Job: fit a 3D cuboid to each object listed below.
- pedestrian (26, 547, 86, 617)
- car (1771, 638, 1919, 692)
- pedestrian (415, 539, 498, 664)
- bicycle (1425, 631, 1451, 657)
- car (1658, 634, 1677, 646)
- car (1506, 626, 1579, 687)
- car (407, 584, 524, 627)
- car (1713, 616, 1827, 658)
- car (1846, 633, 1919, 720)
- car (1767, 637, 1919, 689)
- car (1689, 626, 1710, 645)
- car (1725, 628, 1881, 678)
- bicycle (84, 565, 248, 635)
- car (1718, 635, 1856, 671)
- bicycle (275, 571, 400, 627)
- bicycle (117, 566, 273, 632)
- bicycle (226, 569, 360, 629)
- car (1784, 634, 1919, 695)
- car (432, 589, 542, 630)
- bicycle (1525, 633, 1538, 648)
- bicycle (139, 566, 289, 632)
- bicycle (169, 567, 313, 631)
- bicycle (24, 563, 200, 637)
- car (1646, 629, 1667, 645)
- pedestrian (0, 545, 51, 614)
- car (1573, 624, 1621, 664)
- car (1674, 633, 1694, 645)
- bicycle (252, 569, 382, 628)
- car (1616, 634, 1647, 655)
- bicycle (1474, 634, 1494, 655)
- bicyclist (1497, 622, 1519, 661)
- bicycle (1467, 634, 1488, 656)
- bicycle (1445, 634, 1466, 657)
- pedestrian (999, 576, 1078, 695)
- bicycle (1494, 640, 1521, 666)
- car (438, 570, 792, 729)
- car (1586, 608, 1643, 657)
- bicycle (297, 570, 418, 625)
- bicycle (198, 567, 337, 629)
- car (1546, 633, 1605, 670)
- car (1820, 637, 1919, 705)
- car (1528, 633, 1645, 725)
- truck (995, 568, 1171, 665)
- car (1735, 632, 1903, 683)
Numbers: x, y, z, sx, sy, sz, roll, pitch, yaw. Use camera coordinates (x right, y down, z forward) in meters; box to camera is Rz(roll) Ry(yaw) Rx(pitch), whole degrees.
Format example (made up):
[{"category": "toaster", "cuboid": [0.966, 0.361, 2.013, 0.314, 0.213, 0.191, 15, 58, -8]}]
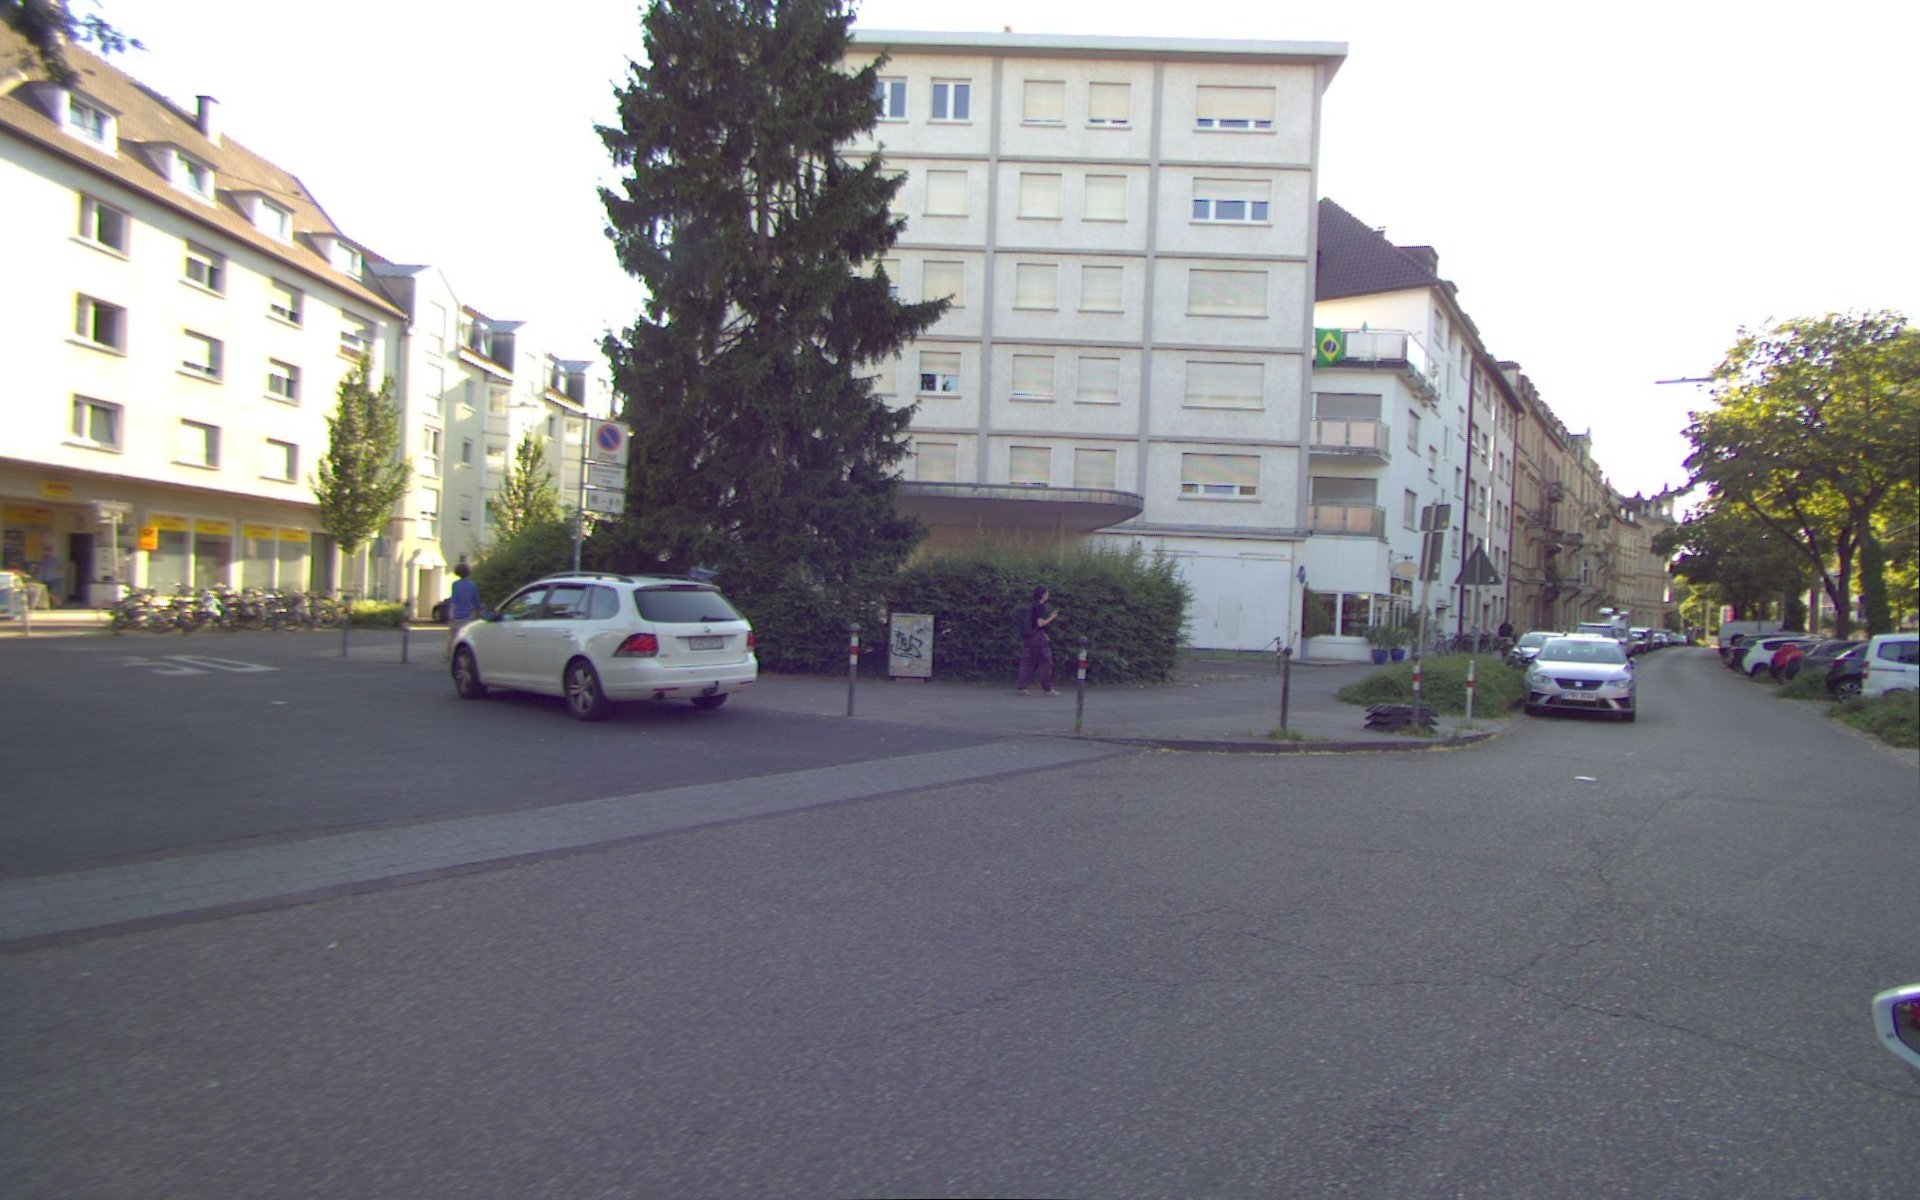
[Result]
[{"category": "pedestrian", "cuboid": [-25.376, -0.502, 28.207, 0.835, 1.900, 0.891, 2, 0, 2]}, {"category": "car", "cuboid": [26.139, 1.844, 28.782, 1.588, 1.477, 4.210, 1, -3, -29]}, {"category": "pedestrian", "cuboid": [-8.571, 0.022, 17.094, 0.969, 2.040, 0.860, 2, 0, 36]}, {"category": "bicycle", "cuboid": [19.544, 1.802, 41.077, 0.524, 1.016, 2.168, 2, 0, 36]}, {"category": "car", "cuboid": [90.364, 5.146, 128.308, 1.690, 1.465, 3.981, 1, -1, 40]}, {"category": "car", "cuboid": [17.717, 1.655, 30.482, 1.687, 1.695, 3.989, 1, -1, 34]}, {"category": "car", "cuboid": [-20.300, 0.225, 41.334, 3.919, 1.579, 1.746, 2, 0, 5]}, {"category": "car", "cuboid": [51.958, 2.424, 64.569, 2.242, 2.605, 5.237, 0, -3, -25]}, {"category": "car", "cuboid": [19.553, 1.434, 18.752, 1.584, 1.674, 4.220, 0, -3, -22]}, {"category": "car", "cuboid": [27.790, 1.921, 30.970, 1.588, 1.477, 4.210, 1, -3, -29]}, {"category": "car", "cuboid": [105.113, 5.053, 142.736, 1.693, 2.596, 5.533, 1, -1, 44]}, {"category": "car", "cuboid": [32.076, 2.030, 38.370, 1.828, 1.772, 4.227, 0, -3, -17]}, {"category": "bicycle", "cuboid": [-18.940, -0.005, 23.993, 3.312, 1.464, 0.881, 3, 0, 5]}, {"category": "car", "cuboid": [35.780, 2.295, 43.584, 1.833, 1.492, 4.216, 0, -3, -25]}, {"category": "bicycle", "cuboid": [-19.081, -0.037, 30.818, 3.312, 1.464, 0.881, 4, 0, 5]}, {"category": "bicycle", "cuboid": [-19.087, -0.024, 25.093, 3.312, 1.464, 0.881, 3, 0, 5]}, {"category": "bicycle", "cuboid": [-19.186, -0.025, 28.913, 3.312, 1.464, 0.881, 4, 0, 5]}, {"category": "car", "cuboid": [24.397, 1.667, 26.193, 1.588, 1.527, 4.210, 1, -3, -29]}, {"category": "car", "cuboid": [-20.371, 0.416, 43.324, 3.919, 1.579, 1.746, 2, 0, 5]}, {"category": "bicycle", "cuboid": [41.676, 2.932, 73.209, 0.618, 1.016, 2.169, 2, 0, 35]}, {"category": "bicycle", "cuboid": [-19.427, -0.026, 26.175, 3.312, 1.464, 0.881, 4, 0, 5]}, {"category": "bicycle", "cuboid": [-19.395, -0.034, 27.133, 3.312, 1.464, 0.881, 4, 0, 5]}, {"category": "bicycle", "cuboid": [-19.100, 0.008, 22.657, 3.312, 1.464, 0.881, 3, 0, 5]}, {"category": "car", "cuboid": [83.796, 4.400, 120.823, 1.690, 1.844, 3.981, 1, -1, 40]}, {"category": "pedestrian", "cuboid": [-26.316, -0.567, 28.122, 0.835, 1.900, 0.891, 2, 0, 2]}, {"category": "car", "cuboid": [32.748, 2.226, 51.585, 1.690, 1.958, 3.983, 1, -1, 38]}, {"category": "car", "cuboid": [97.735, 5.236, 135.590, 1.693, 1.465, 3.976, 1, -1, 44]}, {"category": "bicycle", "cuboid": [-19.098, -0.040, 29.863, 3.312, 1.464, 0.881, 4, 0, 5]}, {"category": "car", "cuboid": [51.015, 3.363, 76.252, 1.689, 1.465, 3.984, 1, -1, 38]}, {"category": "bicycle", "cuboid": [27.493, 2.311, 52.668, 0.618, 1.016, 2.169, 2, 0, 35]}, {"category": "bicyclist", "cuboid": [23.820, 1.800, 43.649, 0.702, 1.638, 0.721, 2, 0, 37]}, {"category": "bicycle", "cuboid": [25.615, 2.225, 49.672, 0.618, 1.016, 2.169, 2, 0, 35]}, {"category": "bicycle", "cuboid": [23.041, 2.098, 46.657, 0.524, 1.016, 2.169, 2, 0, 35]}, {"category": "pedestrian", "cuboid": [1.222, 0.538, 15.582, 0.817, 1.759, 0.868, 4, 1, 35]}, {"category": "bicycle", "cuboid": [23.825, 2.286, 43.676, 0.702, 1.065, 2.339, 2, 0, 36]}, {"category": "car", "cuboid": [-4.073, 0.438, 11.555, 4.230, 1.470, 1.915, 2, 1, 39]}, {"category": "car", "cuboid": [41.742, 2.037, 63.987, 2.521, 2.925, 5.458, 1, -1, 38]}, {"category": "bicycle", "cuboid": [-19.043, -0.080, 31.787, 3.312, 1.464, 0.881, 4, 0, 5]}, {"category": "bicycle", "cuboid": [-19.286, -0.044, 27.994, 3.312, 1.464, 0.881, 4, 0, 5]}, {"category": "car", "cuboid": [26.242, 2.148, 42.784, 1.690, 1.465, 3.983, 1, -1, 38]}, {"category": "car", "cuboid": [21.511, 1.523, 21.643, 1.680, 1.455, 4.176, 1, -3, -28]}, {"category": "car", "cuboid": [11.800, 1.403, 19.003, 1.686, 1.465, 3.991, 1, -1, 31]}, {"category": "truck", "cuboid": [3.502, 0.465, 29.326, 4.873, 2.568, 2.000, 2, 0, 2]}, {"category": "car", "cuboid": [30.551, 2.037, 35.904, 1.828, 1.673, 4.227, 0, -3, -17]}]
